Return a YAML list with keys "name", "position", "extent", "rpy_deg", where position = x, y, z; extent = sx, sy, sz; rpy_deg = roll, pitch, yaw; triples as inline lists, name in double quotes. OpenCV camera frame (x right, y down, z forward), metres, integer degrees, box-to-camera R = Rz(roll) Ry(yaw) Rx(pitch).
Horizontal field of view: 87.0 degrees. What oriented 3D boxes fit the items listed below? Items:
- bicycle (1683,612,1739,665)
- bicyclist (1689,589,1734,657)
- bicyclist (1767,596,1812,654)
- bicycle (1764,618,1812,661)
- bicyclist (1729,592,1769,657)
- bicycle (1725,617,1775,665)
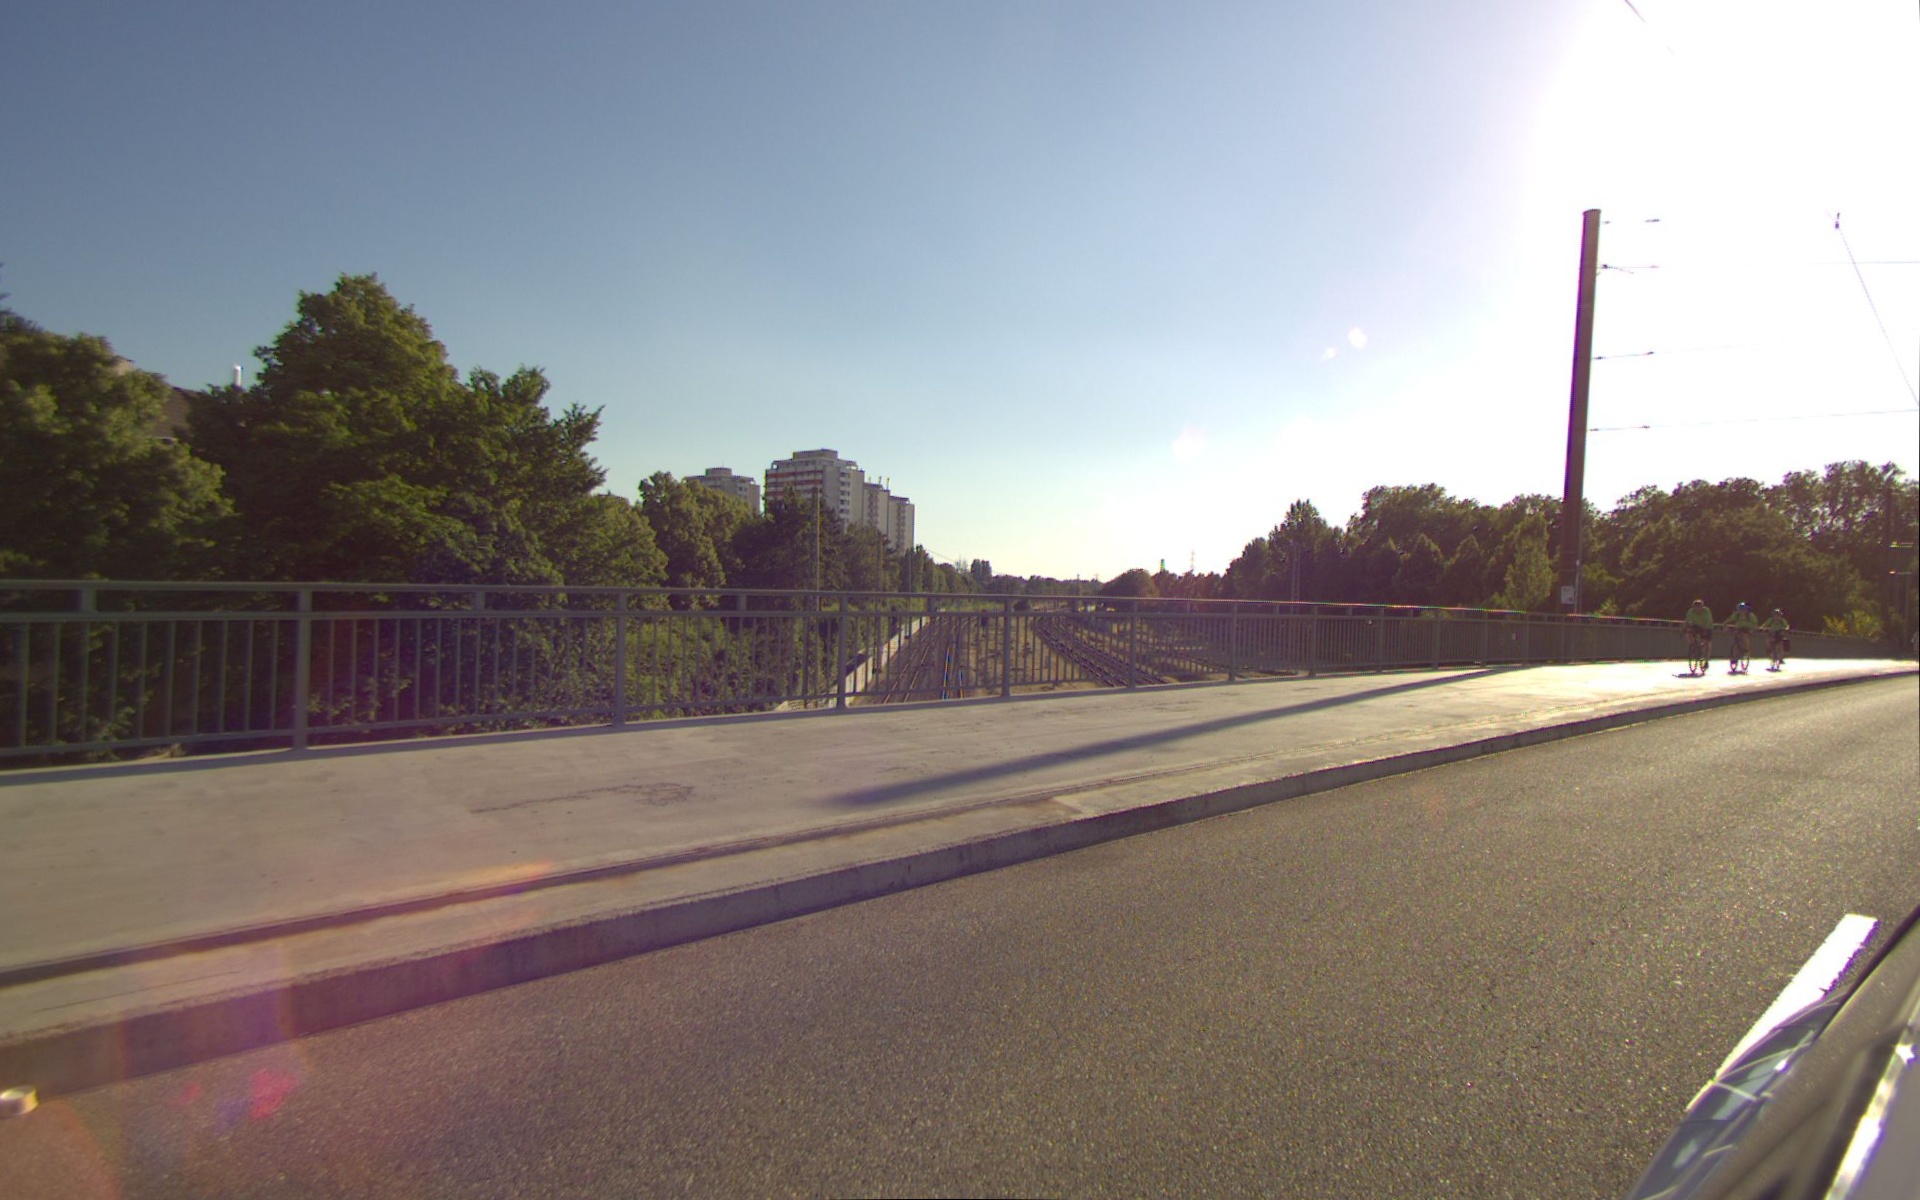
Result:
- name: "bicycle"
  position: [17.380, 0.881, 23.410]
  extent: [2.221, 1.137, 0.626]
  rpy_deg: [2, 0, -43]
- name: "bicyclist"
  position: [17.366, 0.529, 23.383]
  extent: [0.989, 1.527, 0.626]
  rpy_deg: [2, -1, -43]
- name: "bicyclist"
  position: [23.158, 0.691, 28.249]
  extent: [0.881, 1.582, 0.813]
  rpy_deg: [3, -1, -41]
- name: "bicycle"
  position: [23.122, 1.122, 28.236]
  extent: [2.177, 1.137, 0.684]
  rpy_deg: [3, -1, -42]
- name: "bicyclist"
  position: [20.097, 0.621, 25.786]
  extent: [0.914, 1.612, 0.626]
  rpy_deg: [1, 0, -41]
- name: "bicycle"
  position: [20.124, 1.025, 25.768]
  extent: [2.006, 1.136, 0.626]
  rpy_deg: [1, 0, -42]
